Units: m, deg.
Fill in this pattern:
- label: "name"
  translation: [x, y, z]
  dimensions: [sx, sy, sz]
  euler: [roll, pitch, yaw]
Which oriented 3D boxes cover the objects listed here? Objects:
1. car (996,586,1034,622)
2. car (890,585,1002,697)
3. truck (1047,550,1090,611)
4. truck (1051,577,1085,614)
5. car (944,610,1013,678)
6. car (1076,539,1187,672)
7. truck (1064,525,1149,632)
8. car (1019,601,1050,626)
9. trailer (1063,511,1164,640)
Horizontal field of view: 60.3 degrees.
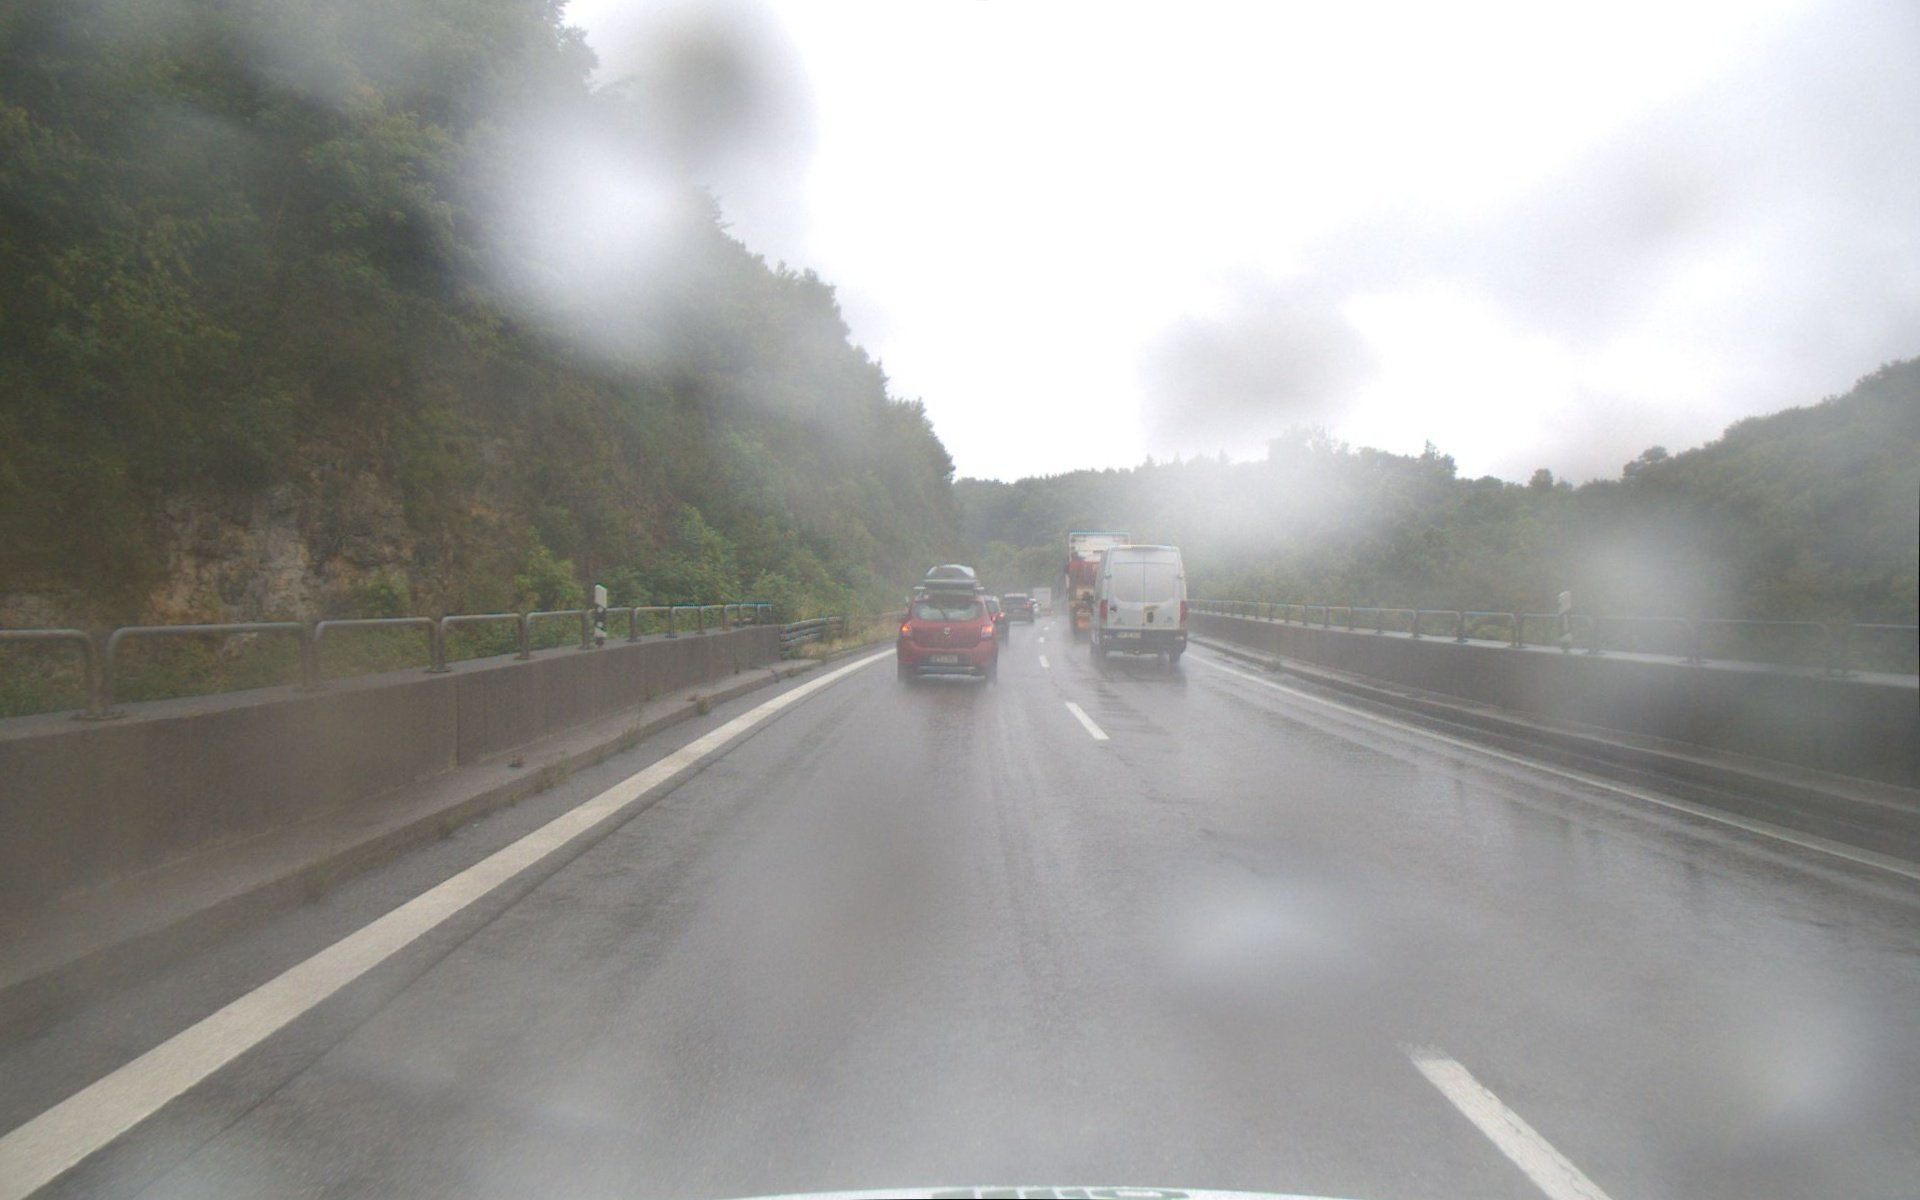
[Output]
- label: "car"
  translation: [2.900, 0.230, 86.826]
  dimensions: [1.836, 1.735, 3.890]
  euler: [-4, 0, 2]
- label: "car"
  translation: [-0.221, 0.669, 28.760]
  dimensions: [1.722, 1.714, 4.000]
  euler: [-4, 0, 0]
- label: "truck"
  translation: [7.967, -1.372, 122.676]
  dimensions: [2.631, 4.165, 9.317]
  euler: [-3, 0, 2]
- label: "truck"
  translation: [10.204, -0.432, 157.417]
  dimensions: [2.998, 3.370, 8.073]
  euler: [0, 0, 2]
- label: "car"
  translation: [0.561, 1.211, 47.208]
  dimensions: [1.795, 1.744, 3.645]
  euler: [-4, 0, 1]
- label: "car"
  translation: [3.951, 0.115, 39.254]
  dimensions: [2.160, 2.843, 7.384]
  euler: [0, 0, 2]
- label: "truck"
  translation: [5.817, -0.825, 66.479]
  dimensions: [3.152, 4.047, 5.441]
  euler: [-1, 0, 4]
- label: "car"
  translation: [5.418, 0.938, 119.977]
  dimensions: [1.952, 1.668, 4.002]
  euler: [-4, 0, 4]
- label: "trailer"
  translation: [5.374, -0.803, 59.925]
  dimensions: [3.151, 4.068, 13.530]
  euler: [-1, 0, 4]
